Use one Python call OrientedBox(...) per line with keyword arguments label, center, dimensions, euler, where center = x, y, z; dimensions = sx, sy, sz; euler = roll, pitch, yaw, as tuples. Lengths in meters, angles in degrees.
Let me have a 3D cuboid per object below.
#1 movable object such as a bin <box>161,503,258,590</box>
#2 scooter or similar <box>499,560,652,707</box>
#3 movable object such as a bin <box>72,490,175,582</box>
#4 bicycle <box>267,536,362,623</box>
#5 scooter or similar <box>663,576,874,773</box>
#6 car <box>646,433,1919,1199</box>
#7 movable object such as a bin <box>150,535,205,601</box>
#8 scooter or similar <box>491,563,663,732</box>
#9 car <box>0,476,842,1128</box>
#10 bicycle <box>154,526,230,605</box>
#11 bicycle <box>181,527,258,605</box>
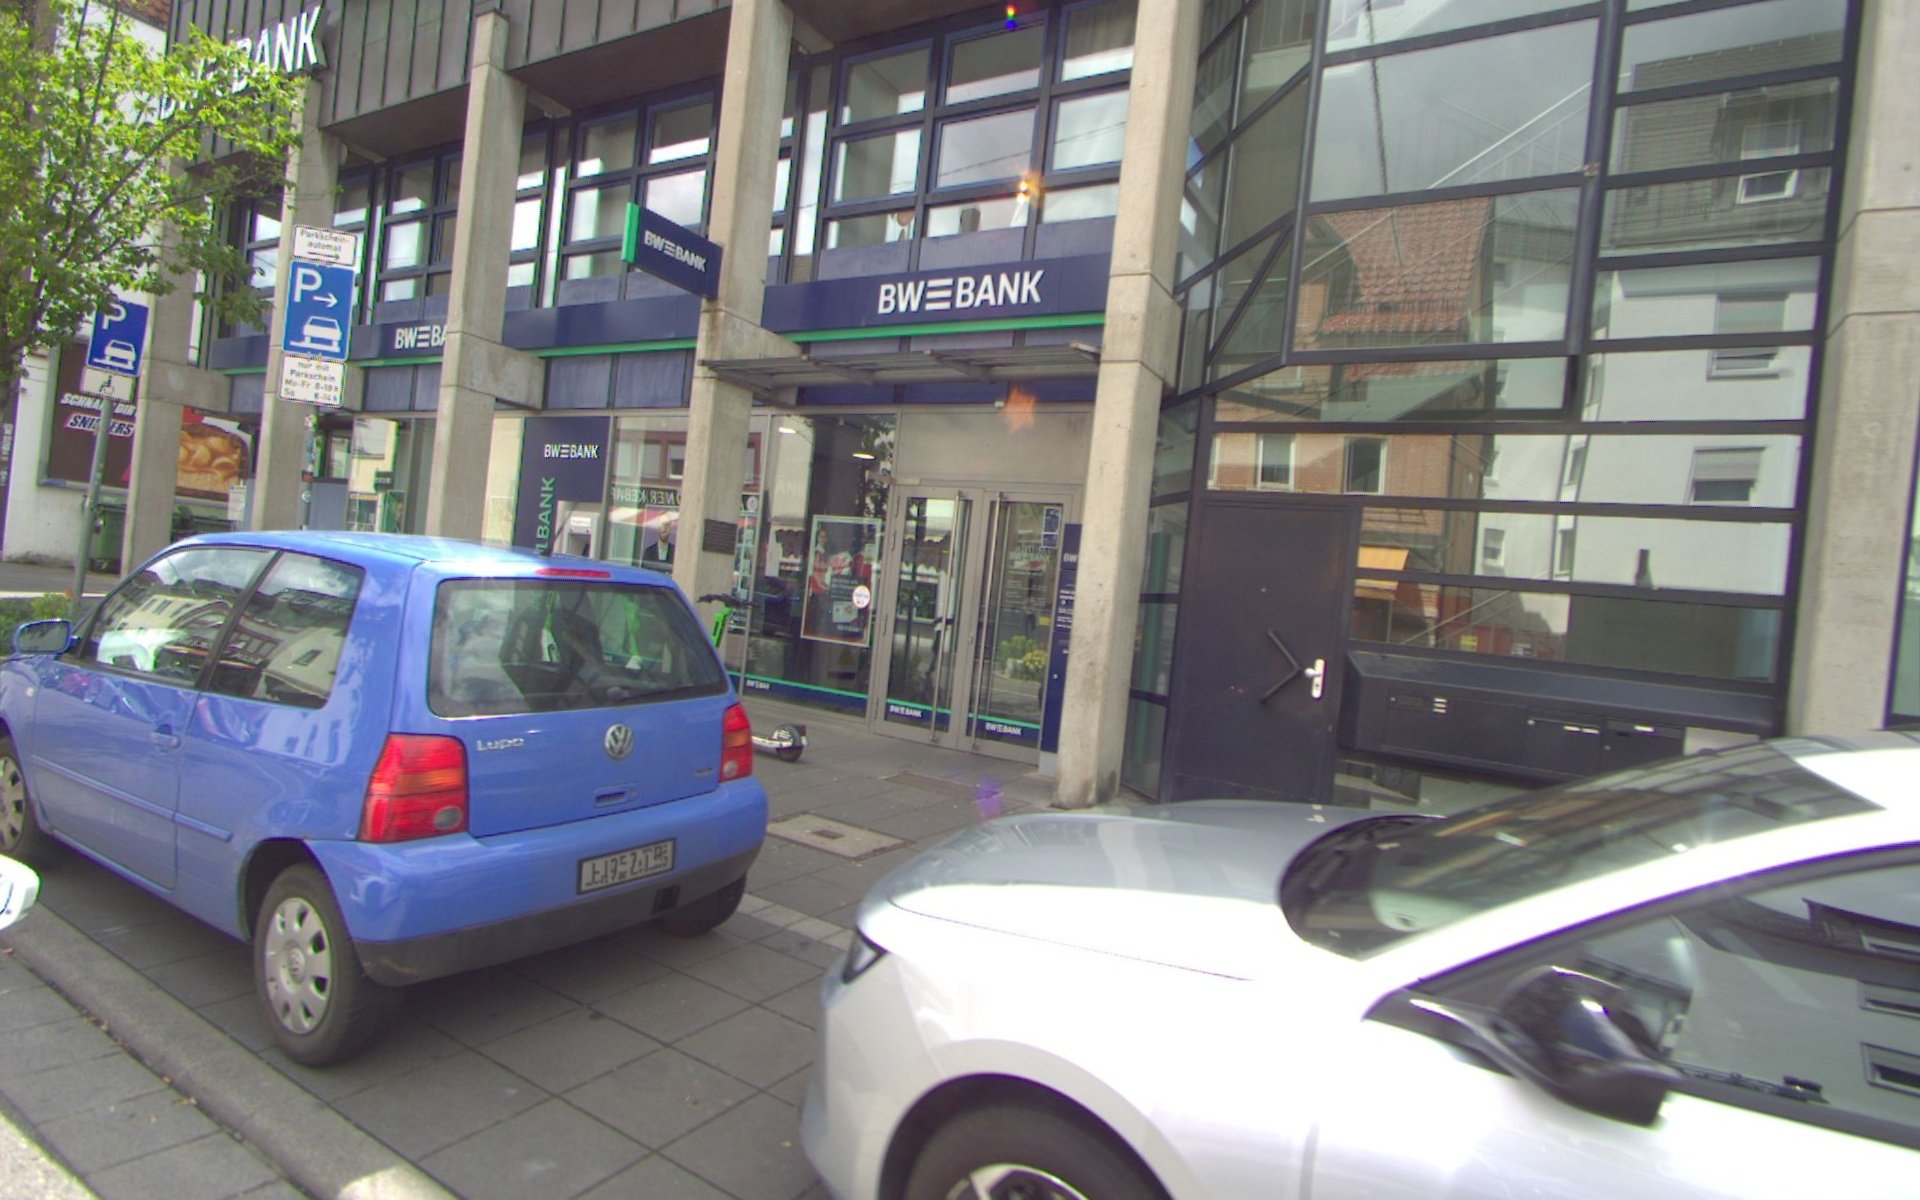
OrientedBox(label="movable object such as a bin", center=(-14.967, -1.058, 20.069), dimensions=(1.015, 1.545, 1.143), euler=(6, -2, 34))
OrientedBox(label="scooter or similar", center=(-3.786, 0.313, 9.856), dimensions=(1.535, 1.260, 0.422), euler=(6, -1, 31))
OrientedBox(label="movable object such as a bin", center=(-15.864, -1.210, 19.089), dimensions=(1.015, 1.545, 1.143), euler=(6, -2, 34))
OrientedBox(label="bicycle", center=(-9.603, -0.317, 14.947), dimensions=(1.713, 1.132, 0.426), euler=(6, -1, 34))
OrientedBox(label="scooter or similar", center=(-1.455, 0.525, 7.537), dimensions=(1.535, 1.260, 0.422), euler=(6, -1, 31))
OrientedBox(label="car", center=(1.706, 0.791, 1.697), dimensions=(4.355, 1.595, 1.724), euler=(9, 0, 33))
OrientedBox(label="movable object such as a bin", center=(-13.043, -0.525, 16.774), dimensions=(0.545, 1.011, 0.487), euler=(6, -1, 34))
OrientedBox(label="scooter or similar", center=(-3.259, 0.389, 8.551), dimensions=(1.300, 1.260, 0.407), euler=(6, -1, 21))
OrientedBox(label="car", center=(-2.682, 0.419, 4.225), dimensions=(4.042, 1.511, 1.724), euler=(6, -2, 33))
OrientedBox(label="bicycle", center=(-12.076, -0.548, 15.798), dimensions=(1.477, 1.095, 0.425), euler=(7, 2, 34))
OrientedBox(label="bicycle", center=(-12.029, -0.557, 16.339), dimensions=(1.478, 1.132, 0.426), euler=(6, -1, 34))
